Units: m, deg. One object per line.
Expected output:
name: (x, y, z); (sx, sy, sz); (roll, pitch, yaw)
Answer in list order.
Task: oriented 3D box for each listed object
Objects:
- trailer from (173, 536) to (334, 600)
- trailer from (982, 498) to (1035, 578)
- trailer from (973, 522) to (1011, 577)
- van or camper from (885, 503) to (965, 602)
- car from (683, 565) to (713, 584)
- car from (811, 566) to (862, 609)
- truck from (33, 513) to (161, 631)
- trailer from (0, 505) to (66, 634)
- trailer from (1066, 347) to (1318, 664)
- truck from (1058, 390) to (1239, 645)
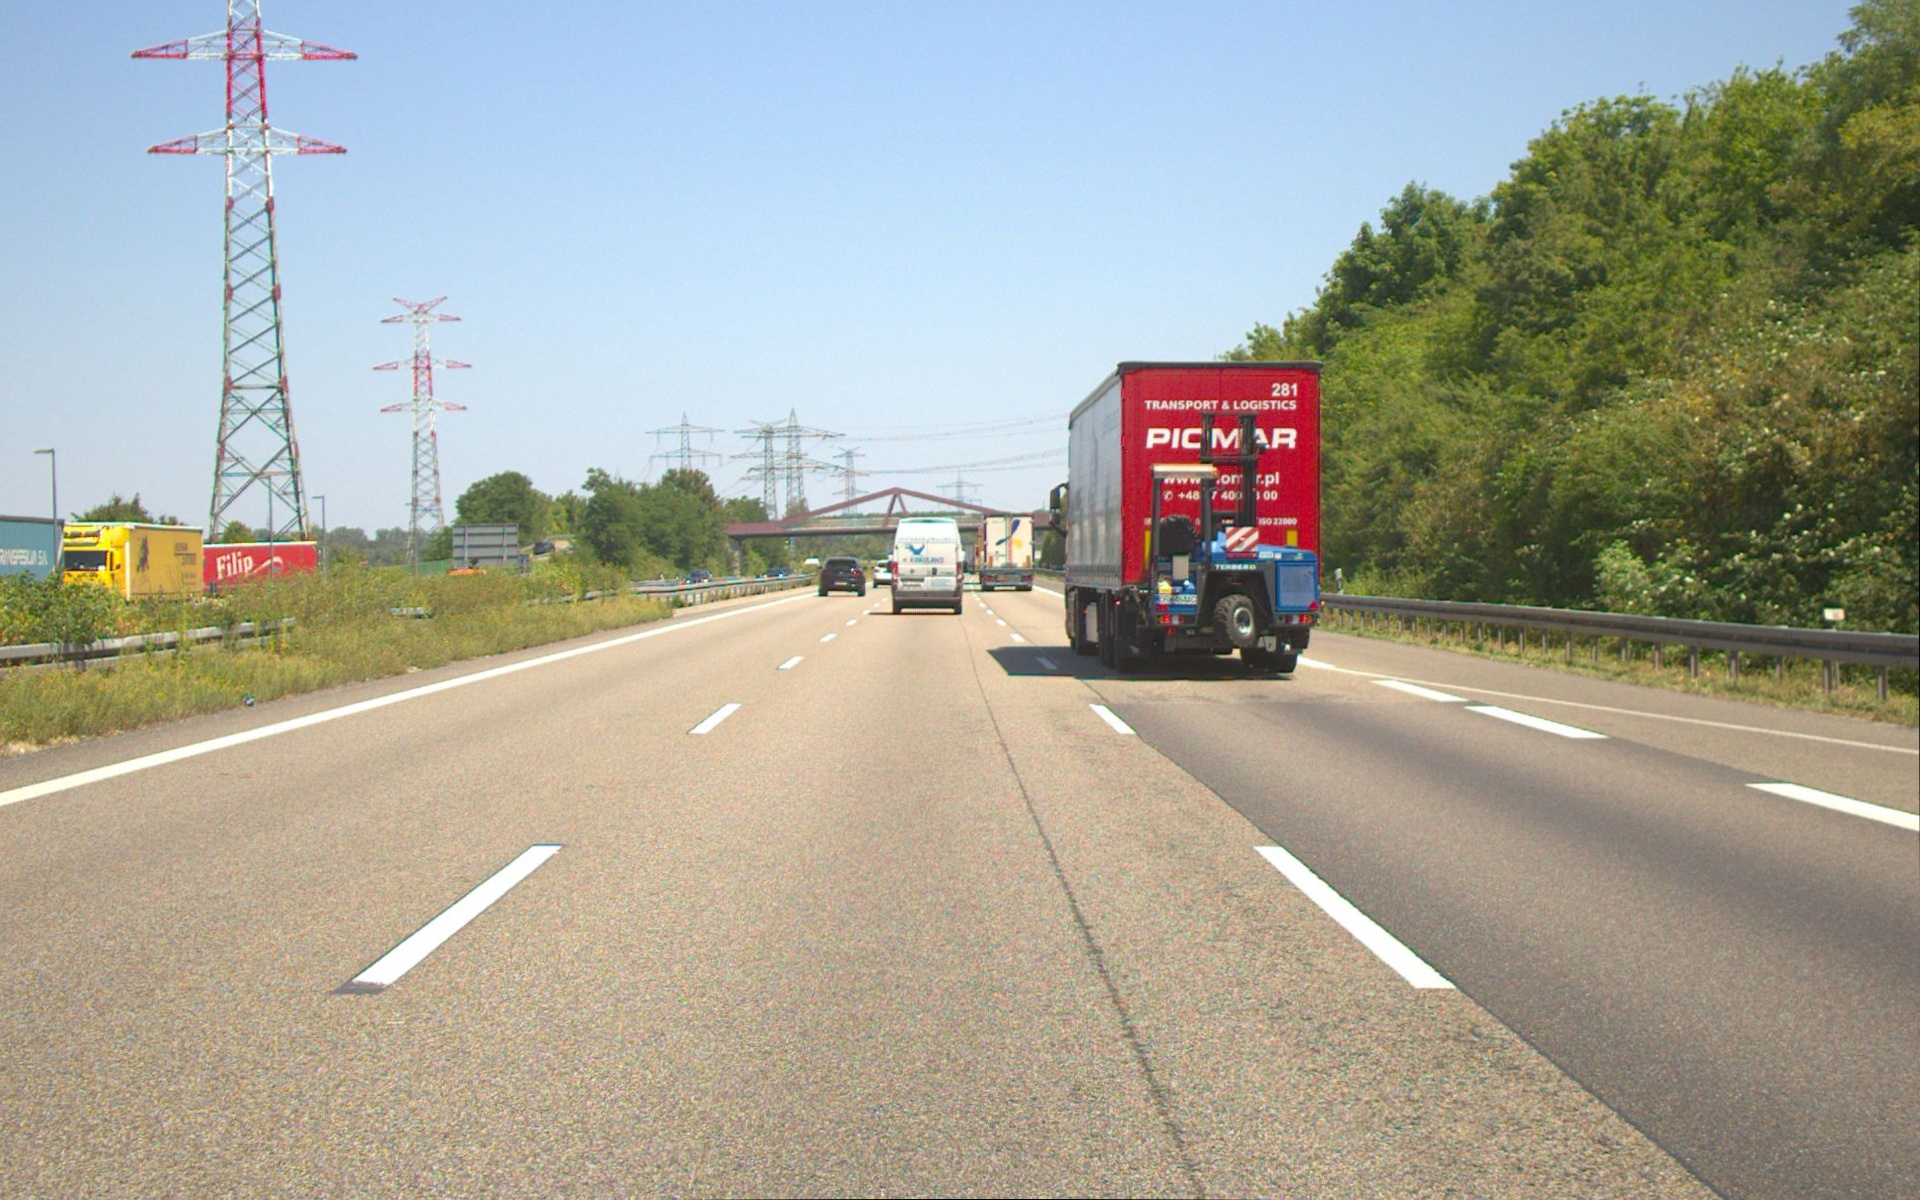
trailer: (-45.945, -2.050, 223.906); (3.127, 4.041, 11.291); (1, 1, 34)
trailer: (2.545, -3.216, 181.912); (2.637, 4.046, 12.366); (1, 1, 1)
trailer: (2.283, -3.594, 246.845); (2.637, 3.884, 7.068); (1, 1, 1)
van or camper: (-0.994, -1.385, 100.465); (2.230, 2.772, 5.423); (1, 1, 0)
car: (-18.751, -1.830, 246.331); (1.742, 1.272, 4.318); (-4, 1, 0)
car: (-5.441, -0.562, 152.250); (1.982, 1.811, 3.812); (1, 1, 2)
truck: (-31.957, -1.045, 127.631); (2.833, 4.186, 7.919); (1, 1, -1)
trailer: (-32.174, -1.025, 112.625); (2.833, 4.134, 12.085); (1, 1, -1)
trailer: (3.067, -1.232, 49.308); (2.490, 3.896, 14.246); (0, 1, -1)
truck: (2.989, -1.301, 56.198); (2.499, 3.906, 7.097); (0, 1, -1)
